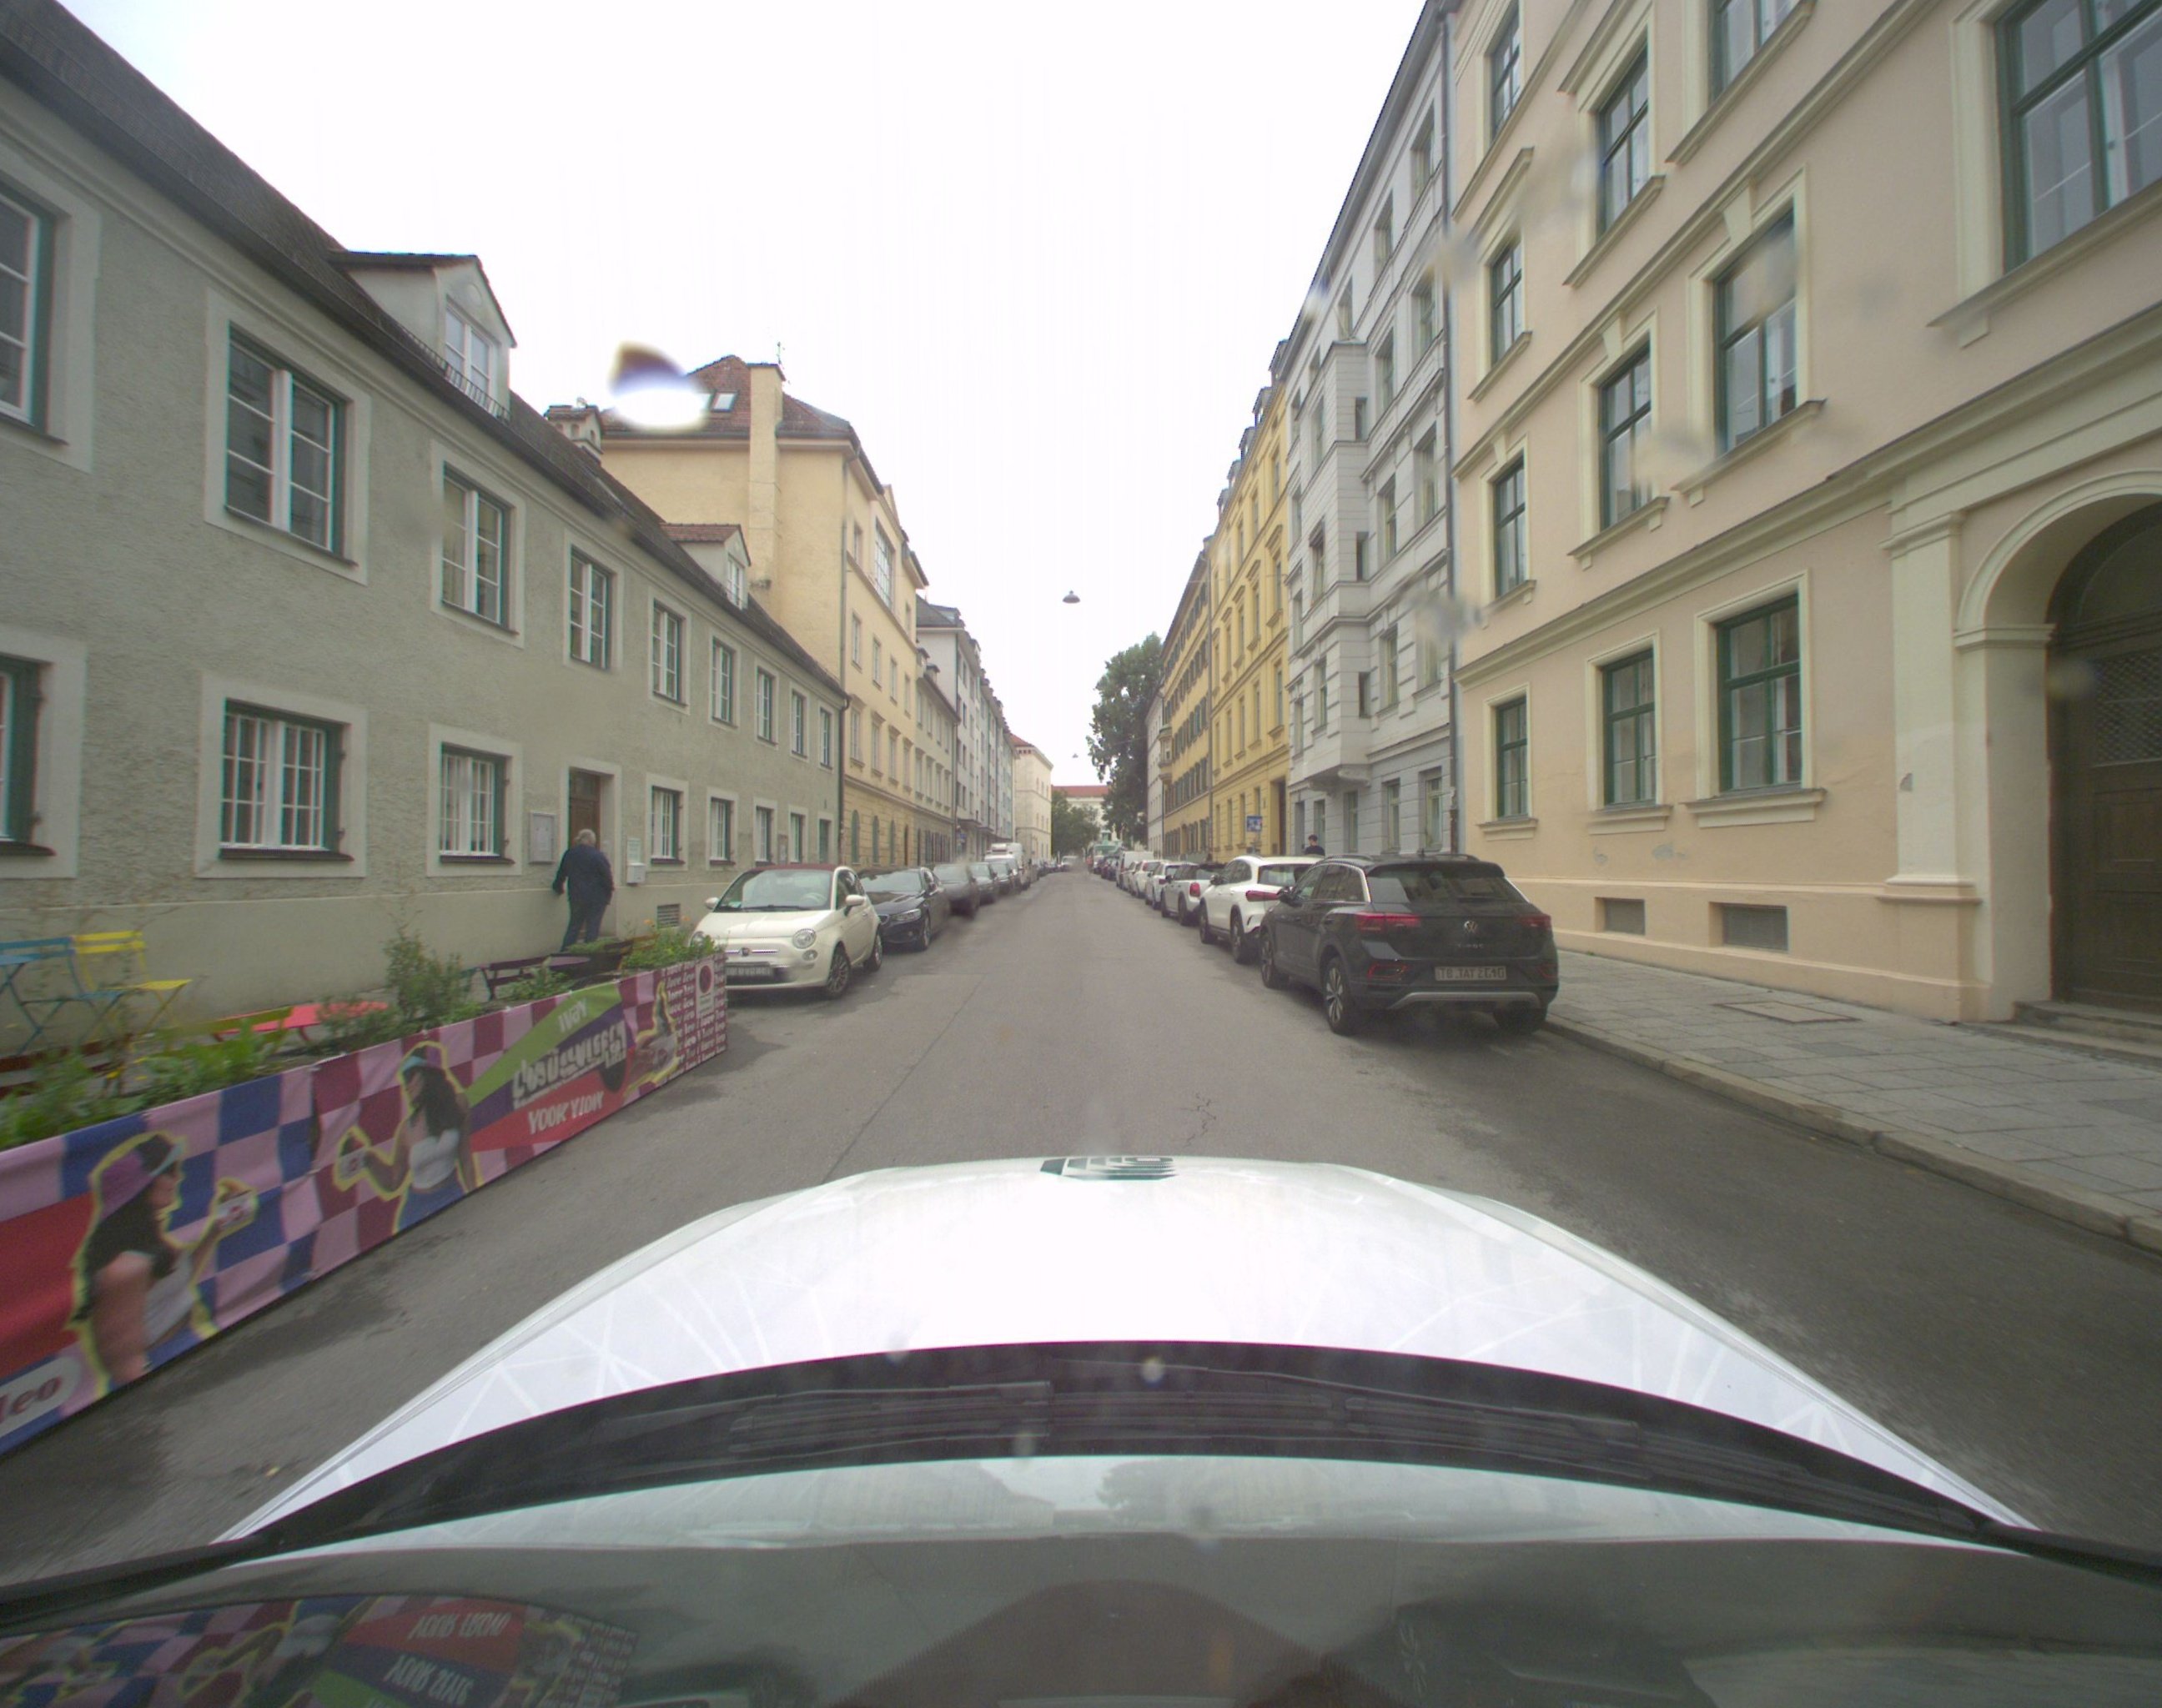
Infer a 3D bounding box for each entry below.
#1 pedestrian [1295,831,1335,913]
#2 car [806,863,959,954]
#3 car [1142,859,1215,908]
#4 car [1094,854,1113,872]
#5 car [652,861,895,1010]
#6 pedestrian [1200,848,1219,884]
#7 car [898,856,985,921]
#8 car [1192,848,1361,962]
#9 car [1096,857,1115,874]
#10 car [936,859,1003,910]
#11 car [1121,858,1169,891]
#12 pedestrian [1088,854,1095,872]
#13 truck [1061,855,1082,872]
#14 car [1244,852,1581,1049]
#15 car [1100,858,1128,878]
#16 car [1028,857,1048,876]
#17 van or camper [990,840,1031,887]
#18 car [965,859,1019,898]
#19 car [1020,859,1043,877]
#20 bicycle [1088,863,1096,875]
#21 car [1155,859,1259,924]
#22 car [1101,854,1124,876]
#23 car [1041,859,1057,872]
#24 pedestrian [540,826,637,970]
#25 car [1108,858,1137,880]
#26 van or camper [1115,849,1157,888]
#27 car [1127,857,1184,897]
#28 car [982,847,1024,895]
[{"bbox_3d":[5.877,0.445,20.492,0.667,1.980,0.708,-4,-2,0],"label":"pedestrian"},{"bbox_3d":[-3.440,0.878,15.037,1.793,1.339,4.682,0,0,-2],"label":"car"},{"bbox_3d":[2.943,0.861,25.558,1.703,1.408,4.813,0,-1,0],"label":"car"},{"bbox_3d":[2.419,0.977,88.652,1.846,1.919,4.768,-1,-1,0],"label":"car"},{"bbox_3d":[-3.496,0.829,10.027,1.751,1.475,3.709,0,0,-4],"label":"car"},{"bbox_3d":[5.868,0.553,37.300,0.658,1.571,0.642,-3,-2,-1],"label":"pedestrian"},{"bbox_3d":[-3.503,0.825,21.167,1.751,1.496,4.195,0,-1,-3],"label":"car"},{"bbox_3d":[3.025,0.730,13.583,1.737,1.583,4.465,0,-1,0],"label":"car"},{"bbox_3d":[2.505,1.156,82.776,1.806,1.614,4.155,-1,-1,0],"label":"car"},{"bbox_3d":[-3.493,0.906,26.184,1.813,1.441,4.125,-1,0,-4],"label":"car"},{"bbox_3d":[2.844,0.898,36.901,1.704,1.392,4.202,0,-1,-3],"label":"car"},{"bbox_3d":[1.029,0.853,76.733,0.640,1.714,0.842,-1,-2,0],"label":"pedestrian"},{"bbox_3d":[-1.270,1.354,112.200,2.109,2.247,6.197,-1,-1,7],"label":"truck"},{"bbox_3d":[2.993,0.764,8.439,1.749,1.521,4.273,0,-1,0],"label":"car"},{"bbox_3d":[2.458,1.065,61.864,1.807,1.425,4.243,1,-1,-2],"label":"car"},{"bbox_3d":[-3.951,1.162,75.660,1.702,1.609,3.860,-1,-1,-1],"label":"car"},{"bbox_3d":[-3.512,0.482,41.558,1.750,2.281,5.270,0,-1,-1],"label":"van or camper"},{"bbox_3d":[-3.354,0.898,31.314,1.750,1.409,4.100,0,-1,-2],"label":"car"},{"bbox_3d":[-4.225,1.168,70.064,1.812,1.444,3.816,-1,-1,-1],"label":"car"},{"bbox_3d":[1.028,1.391,76.700,0.673,1.095,1.760,-1,-2,0],"label":"bicycle"},{"bbox_3d":[2.956,0.840,19.910,1.704,1.404,4.203,0,-1,-3],"label":"car"},{"bbox_3d":[2.629,0.923,68.870,1.806,1.797,4.246,1,-1,0],"label":"car"},{"bbox_3d":[-4.022,1.487,103.278,1.700,1.609,3.864,-1,-1,2],"label":"car"},{"bbox_3d":[-6.760,0.585,11.217,0.820,1.898,0.827,-1,-2,-2],"label":"pedestrian"},{"bbox_3d":[2.881,1.068,57.088,1.806,1.465,4.245,1,-1,-1],"label":"car"},{"bbox_3d":[2.785,0.714,41.990,1.828,1.872,5.077,0,0,0],"label":"van or camper"},{"bbox_3d":[2.867,0.863,32.195,1.704,1.454,4.092,0,-1,-3],"label":"car"},{"bbox_3d":[-3.421,0.718,36.316,1.751,1.995,4.618,0,-1,-5],"label":"car"}]
